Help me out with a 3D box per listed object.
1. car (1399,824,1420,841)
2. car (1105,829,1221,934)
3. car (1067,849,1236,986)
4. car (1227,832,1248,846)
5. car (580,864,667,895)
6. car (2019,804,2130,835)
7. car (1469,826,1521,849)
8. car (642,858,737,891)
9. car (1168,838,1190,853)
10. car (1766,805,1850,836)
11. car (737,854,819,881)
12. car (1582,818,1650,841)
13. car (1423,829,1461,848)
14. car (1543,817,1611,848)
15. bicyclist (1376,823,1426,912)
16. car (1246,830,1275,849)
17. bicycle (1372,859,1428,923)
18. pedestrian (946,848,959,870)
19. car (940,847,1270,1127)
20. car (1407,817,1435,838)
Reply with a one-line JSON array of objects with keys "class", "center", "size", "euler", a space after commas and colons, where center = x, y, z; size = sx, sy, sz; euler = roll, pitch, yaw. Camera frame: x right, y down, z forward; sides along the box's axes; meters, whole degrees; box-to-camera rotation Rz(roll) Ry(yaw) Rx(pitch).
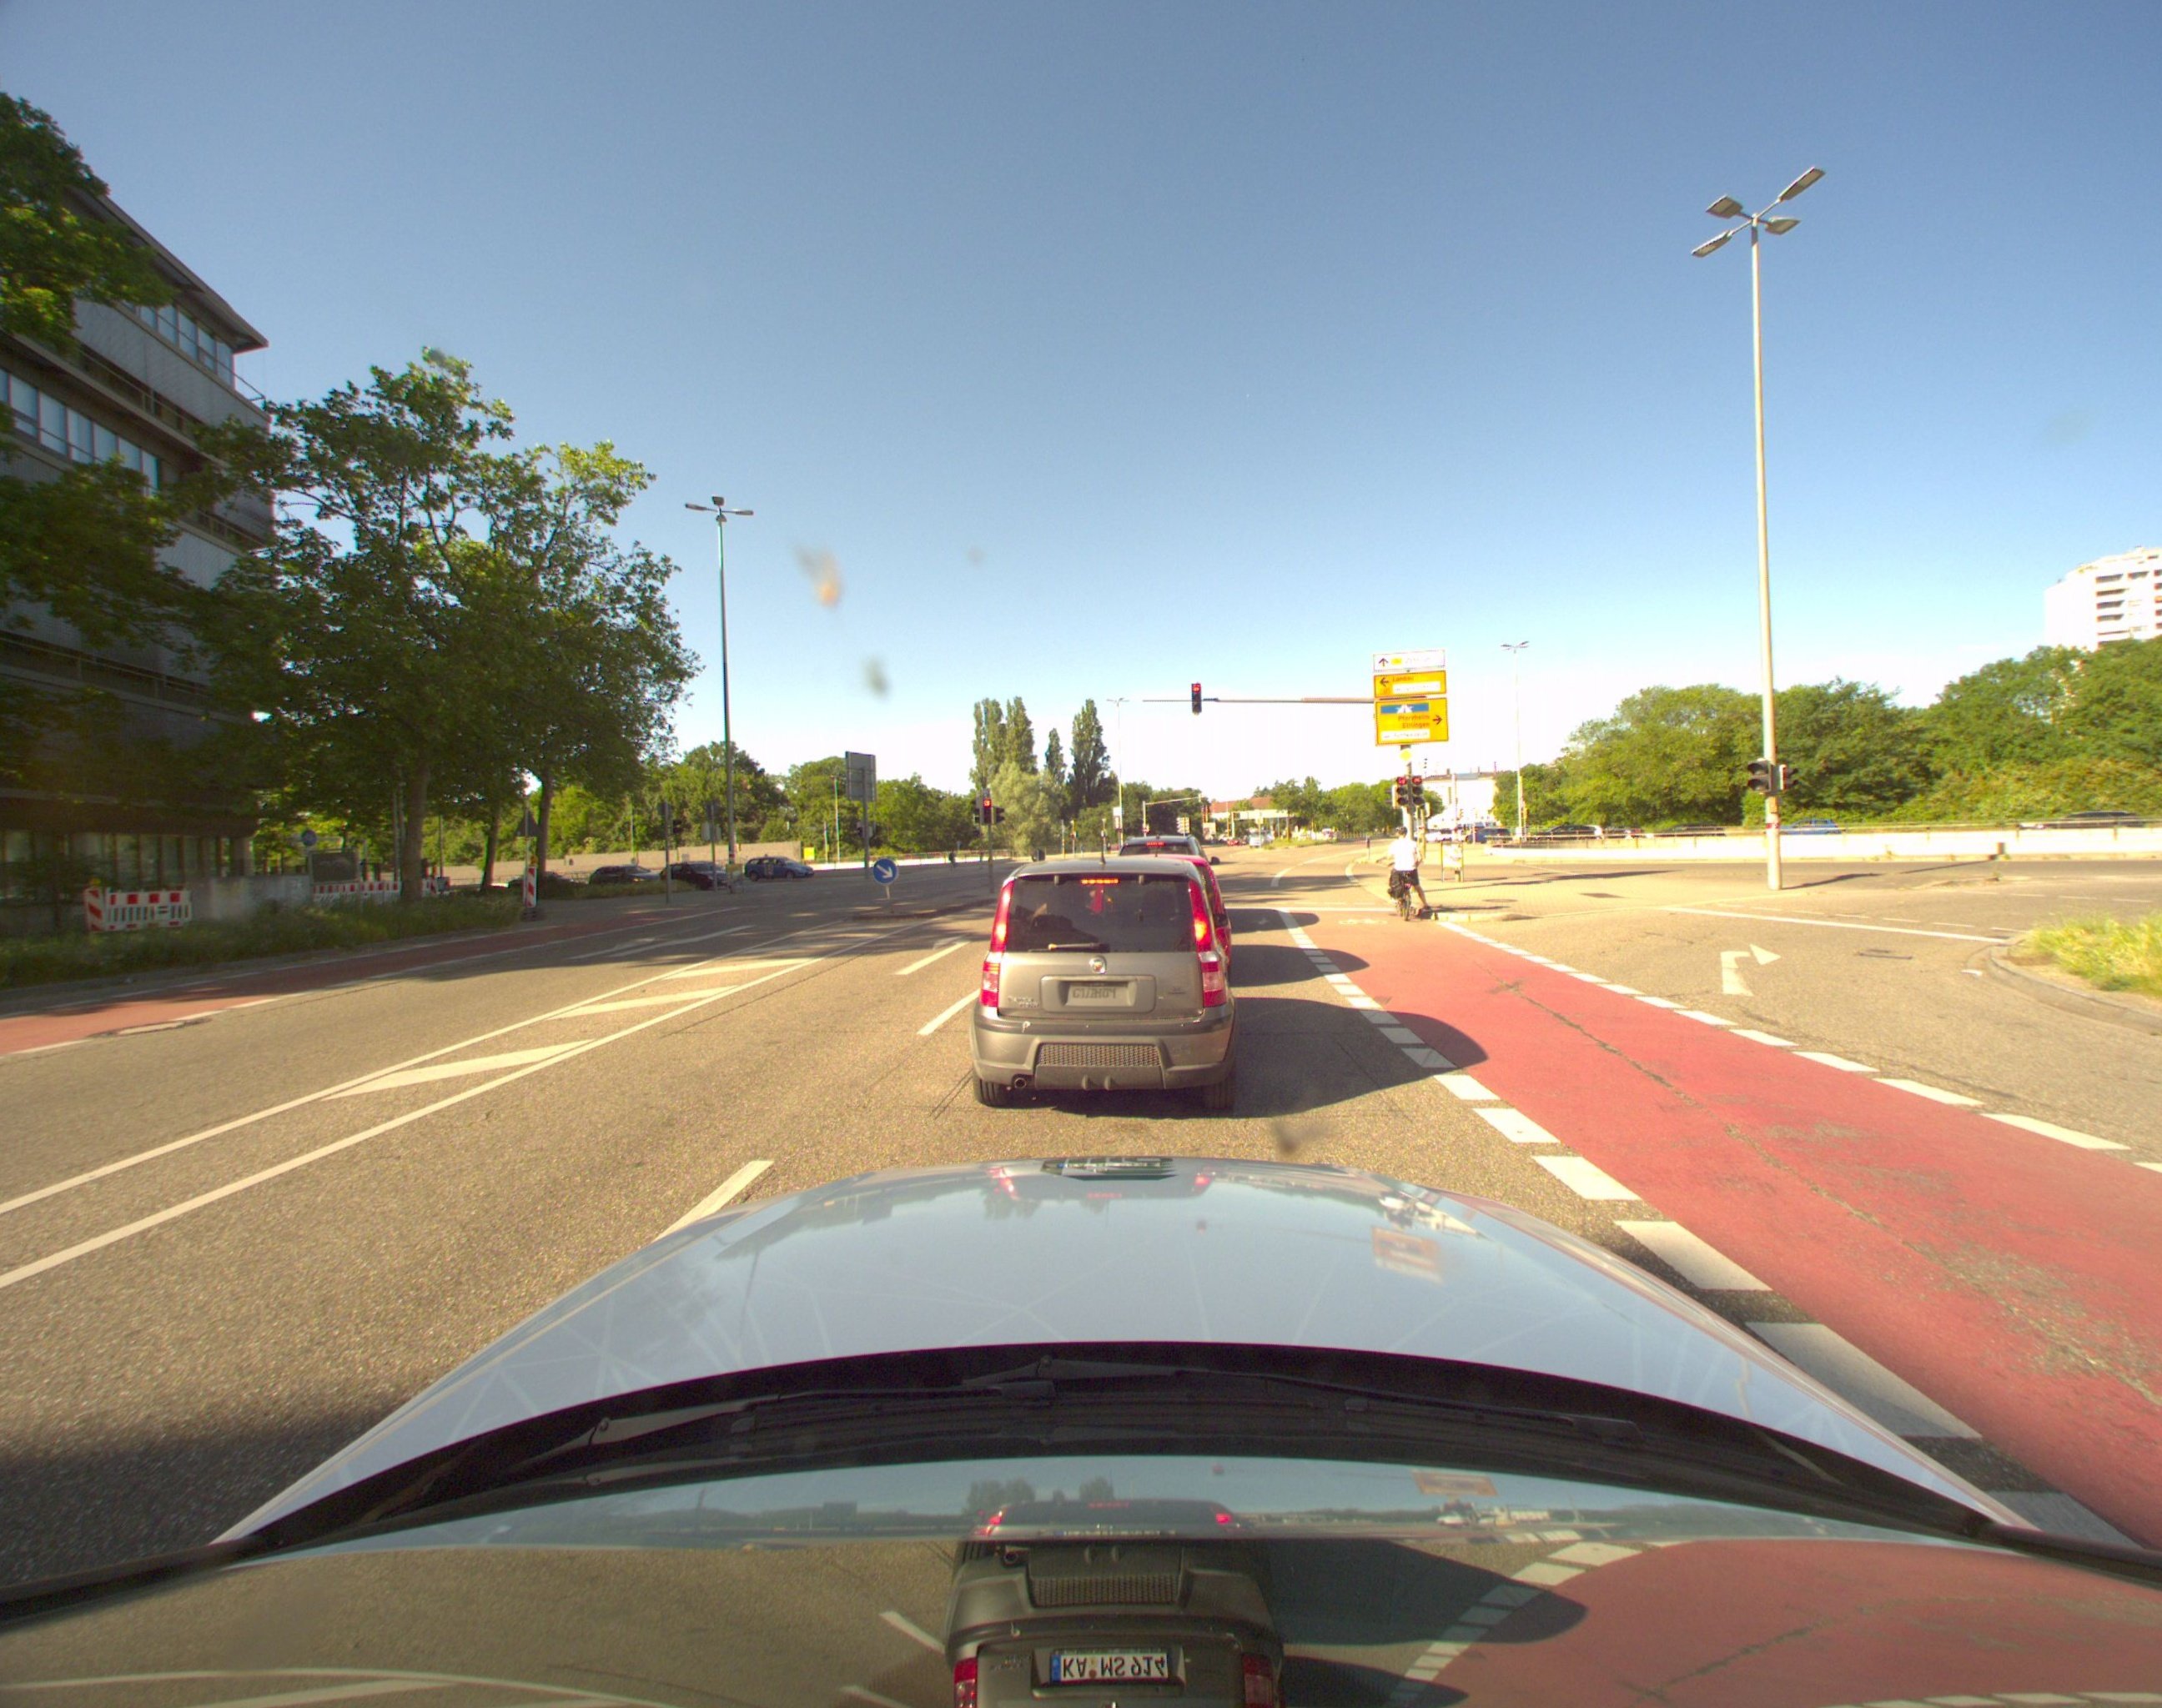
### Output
[{"class": "car", "center": [38.807, -2.519, 96.157], "size": [1.975, 1.750, 4.022], "euler": [-2, -2, 24]}, {"class": "car", "center": [1.772, 0.442, 16.184], "size": [1.857, 1.790, 4.428], "euler": [0, 1, 11]}, {"class": "car", "center": [0.926, 0.681, 10.821], "size": [1.811, 1.479, 4.005], "euler": [0, 0, 5]}, {"class": "car", "center": [24.540, -2.345, 127.737], "size": [1.994, 1.855, 4.914], "euler": [-2, -2, 26]}, {"class": "car", "center": [-24.961, 1.389, 44.419], "size": [4.396, 1.438, 1.836], "euler": [-2, 0, 24]}, {"class": "car", "center": [59.508, -2.043, 48.887], "size": [3.948, 1.618, 1.739], "euler": [-1, 1, 39]}, {"class": "car", "center": [38.151, -1.503, 75.222], "size": [2.010, 1.855, 4.876], "euler": [-1, -2, -5]}, {"class": "car", "center": [-19.643, 1.039, 40.862], "size": [4.396, 1.438, 1.836], "euler": [-2, 0, 24]}, {"class": "car", "center": [13.910, -1.208, 115.786], "size": [1.995, 1.855, 4.454], "euler": [-2, -2, 22]}, {"class": "car", "center": [50.182, -2.275, 56.263], "size": [4.206, 1.855, 2.032], "euler": [-3, -2, 42]}, {"class": "car", "center": [-18.866, 0.829, 50.784], "size": [4.405, 1.438, 1.833], "euler": [-2, 0, 14]}, {"class": "car", "center": [42.318, -1.948, 64.497], "size": [2.005, 1.662, 3.963], "euler": [-3, 1, -28]}, {"class": "car", "center": [37.330, -1.536, 84.317], "size": [1.988, 1.750, 3.997], "euler": [-1, -2, -2]}, {"class": "car", "center": [36.389, -1.549, 59.741], "size": [3.948, 2.014, 2.012], "euler": [-3, -2, 40]}, {"class": "bicyclist", "center": [6.334, 0.251, 16.104], "size": [0.792, 1.705, 1.092], "euler": [-1, 1, 27]}, {"class": "car", "center": [20.218, -1.617, 91.663], "size": [1.994, 1.855, 4.914], "euler": [-2, -2, 26]}, {"class": "bicycle", "center": [6.317, 0.680, 16.059], "size": [0.792, 1.110, 2.416], "euler": [-1, 1, 27]}, {"class": "pedestrian", "center": [-9.154, 0.364, 57.946], "size": [0.684, 1.538, 1.365], "euler": [-1, -3, 0]}, {"class": "car", "center": [0.313, 0.704, 6.475], "size": [1.811, 1.489, 4.006], "euler": [0, 1, 5]}, {"class": "car", "center": [46.899, -3.600, 112.298], "size": [2.232, 2.607, 4.917], "euler": [-3, -2, 39]}]
